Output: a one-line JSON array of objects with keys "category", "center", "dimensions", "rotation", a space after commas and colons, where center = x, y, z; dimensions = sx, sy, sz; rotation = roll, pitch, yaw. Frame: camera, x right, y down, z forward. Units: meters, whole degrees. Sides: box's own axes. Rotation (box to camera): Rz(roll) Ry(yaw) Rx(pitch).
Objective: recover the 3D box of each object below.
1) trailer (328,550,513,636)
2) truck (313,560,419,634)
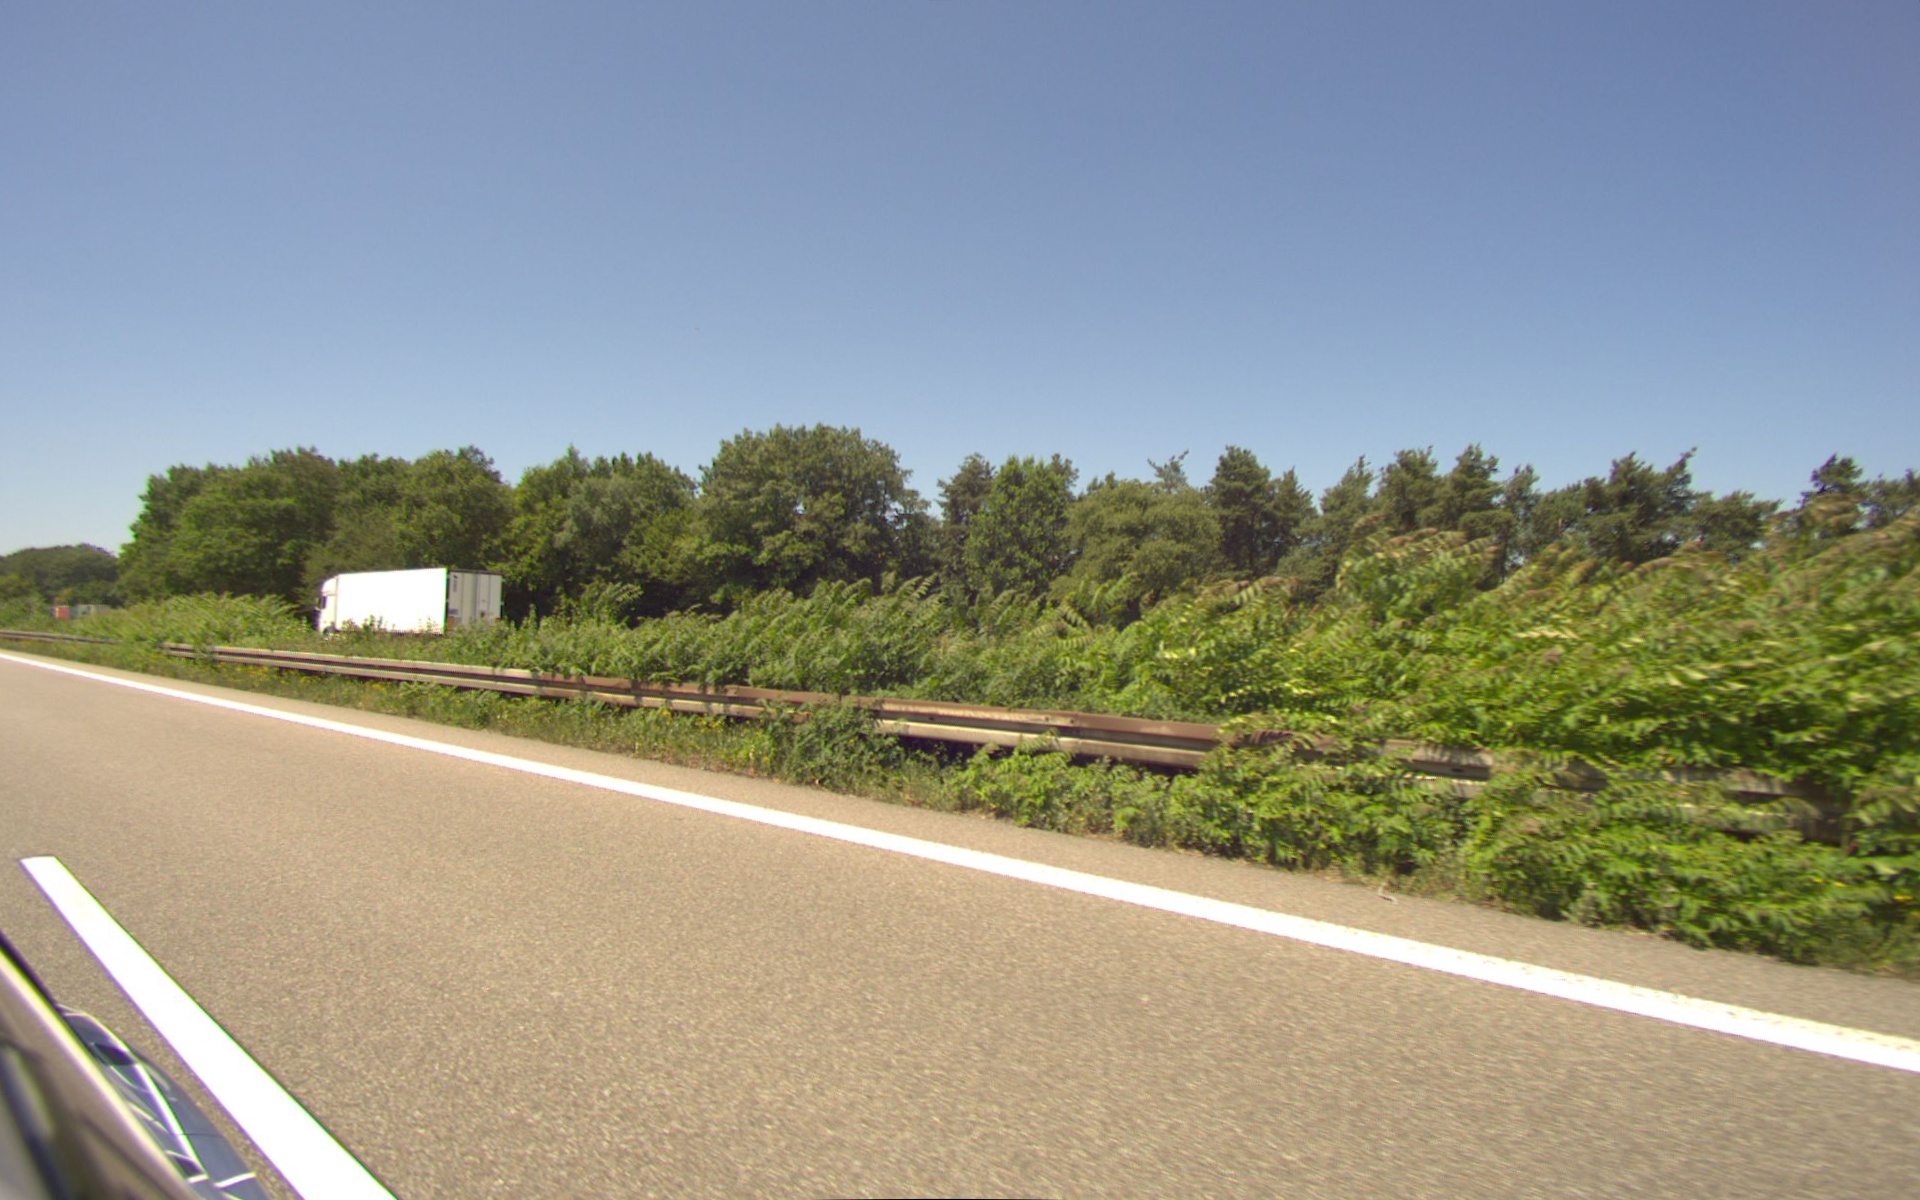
[{"category": "trailer", "center": [-26.829, -0.221, 49.713], "dimensions": [14.375, 3.726, 3.147], "rotation": [-1, 0, 41]}, {"category": "truck", "center": [-31.754, -0.143, 54.026], "dimensions": [6.033, 3.726, 3.147], "rotation": [-1, 0, 41]}]
